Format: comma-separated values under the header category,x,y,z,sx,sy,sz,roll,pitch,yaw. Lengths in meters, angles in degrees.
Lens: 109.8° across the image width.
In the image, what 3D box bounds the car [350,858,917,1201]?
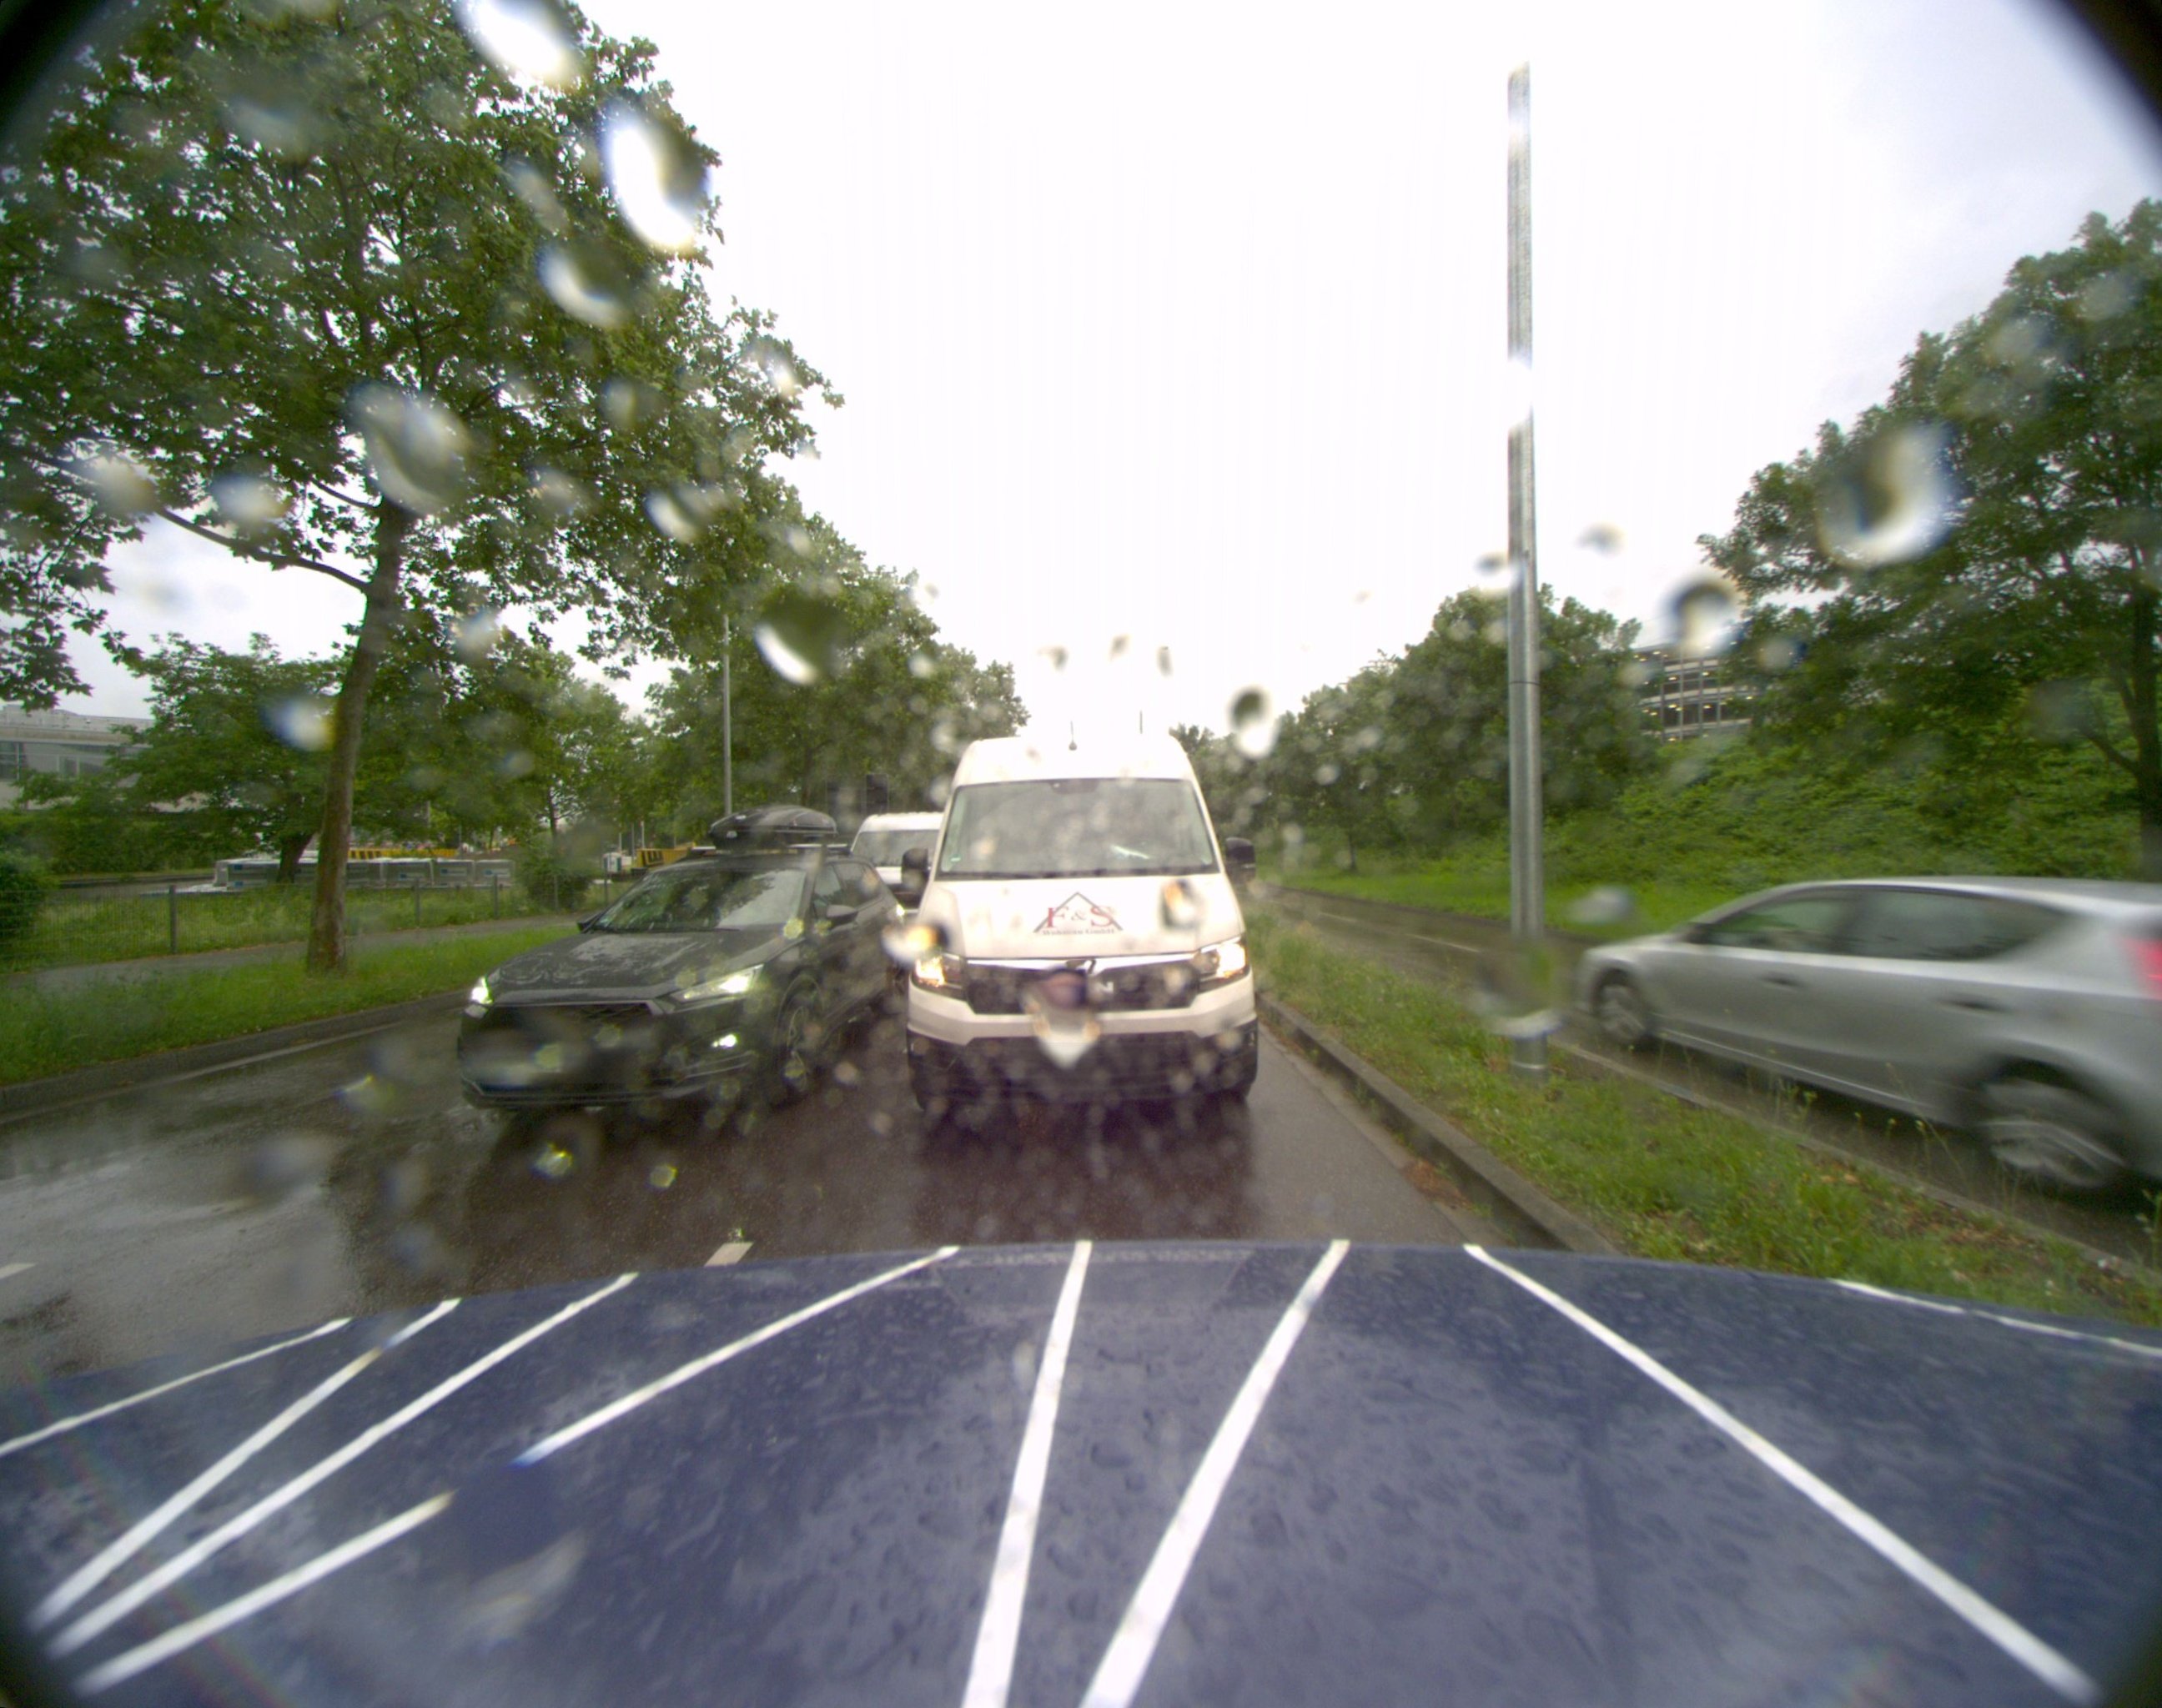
category,x,y,z,sx,sy,sz,roll,pitch,yaw
car,-2.753,0.908,6.087,1.894,1.688,4.423,-1,0,0

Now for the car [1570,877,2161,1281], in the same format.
category,x,y,z,sx,sy,sz,roll,pitch,yaw
car,5.153,0.958,4.560,1.820,1.454,3.999,2,0,0

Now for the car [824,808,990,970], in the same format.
category,x,y,z,sx,sy,sz,roll,pitch,yaw
car,-2.960,0.529,14.211,1.894,2.432,5.317,-1,0,-1

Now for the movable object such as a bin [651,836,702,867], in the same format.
category,x,y,z,sx,sy,sz,roll,pitch,yaw
movable object such as a bin,-47.495,-0.253,89.373,4.942,3.415,1.915,-3,1,-21

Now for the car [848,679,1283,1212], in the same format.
category,x,y,z,sx,sy,sz,roll,pitch,yaw
car,-0.117,0.429,6.461,2.027,2.498,5.695,-1,0,-1

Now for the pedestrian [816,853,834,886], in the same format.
category,x,y,z,sx,sy,sz,roll,pitch,yaw
pedestrian,-13.504,0.827,40.104,0.646,1.707,0.656,-2,1,1
